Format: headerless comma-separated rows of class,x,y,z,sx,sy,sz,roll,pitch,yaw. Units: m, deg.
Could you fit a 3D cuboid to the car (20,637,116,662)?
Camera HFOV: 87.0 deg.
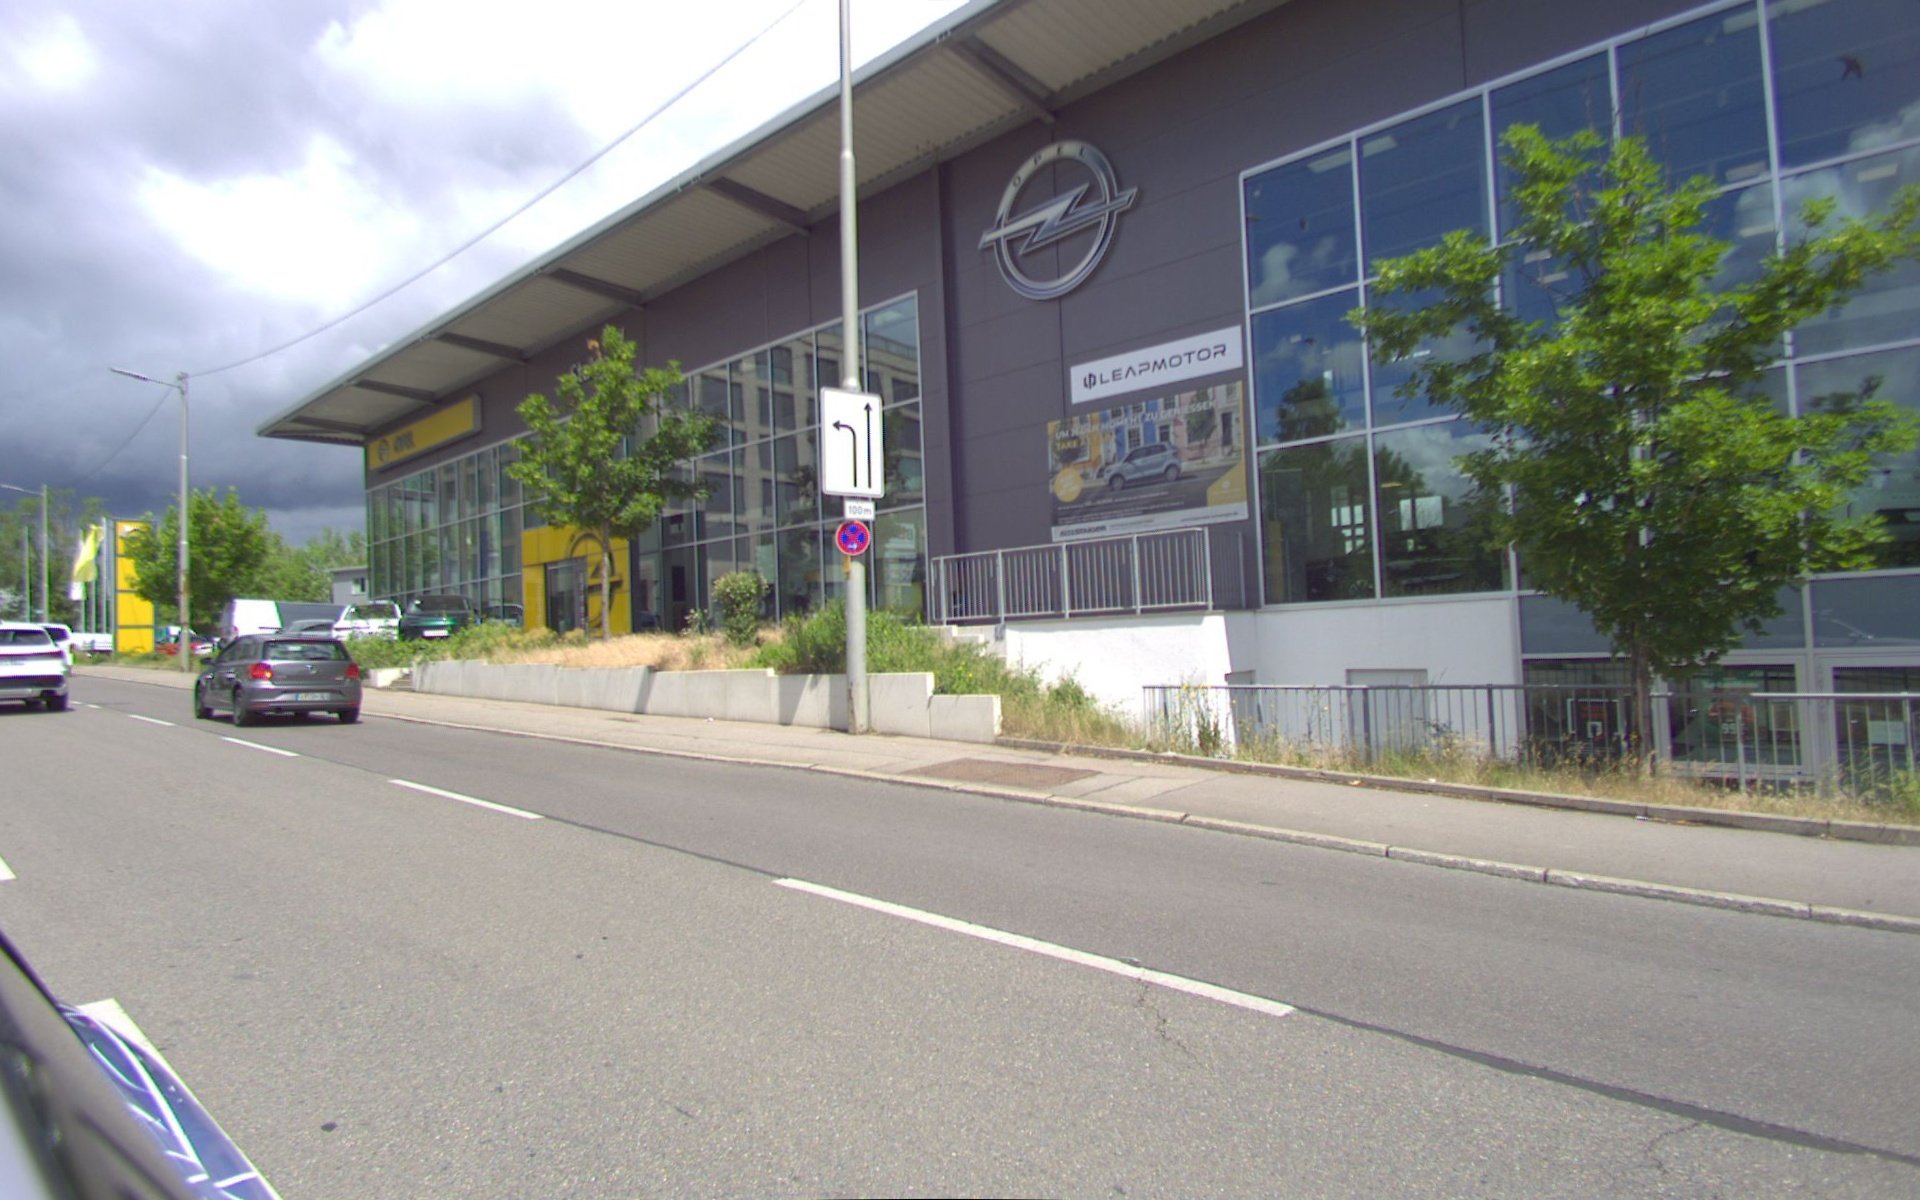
car,-56.052,3.067,63.657,2.093,1.493,4.200,-2,-2,38

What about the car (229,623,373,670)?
car,-24.214,1.689,37.319,1.792,1.625,4.064,-2,-2,32

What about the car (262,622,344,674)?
car,-21.950,1.580,33.946,1.767,1.625,4.122,0,-2,-26

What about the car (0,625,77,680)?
car,-33.842,1.903,36.758,5.196,1.874,1.899,-2,-4,41

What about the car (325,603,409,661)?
car,-17.759,0.934,30.463,1.767,1.625,4.122,0,-1,-25

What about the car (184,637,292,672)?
car,-34.075,2.532,47.854,1.559,1.539,3.897,-2,-2,38

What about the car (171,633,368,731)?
car,-11.384,1.282,16.612,3.732,1.424,1.740,-2,-4,41

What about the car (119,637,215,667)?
car,-40.506,2.628,51.735,1.814,1.420,3.621,-2,-3,42

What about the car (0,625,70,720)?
car,-18.169,1.308,18.806,4.413,1.625,1.899,-2,-2,41

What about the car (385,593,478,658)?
car,-14.252,0.712,27.485,1.790,1.625,4.122,0,-2,-21

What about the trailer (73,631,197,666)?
trailer,-43.811,2.530,53.849,2.092,1.765,4.776,-2,-2,37

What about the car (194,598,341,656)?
car,-27.751,1.075,40.667,2.177,2.211,4.475,-1,-2,39
